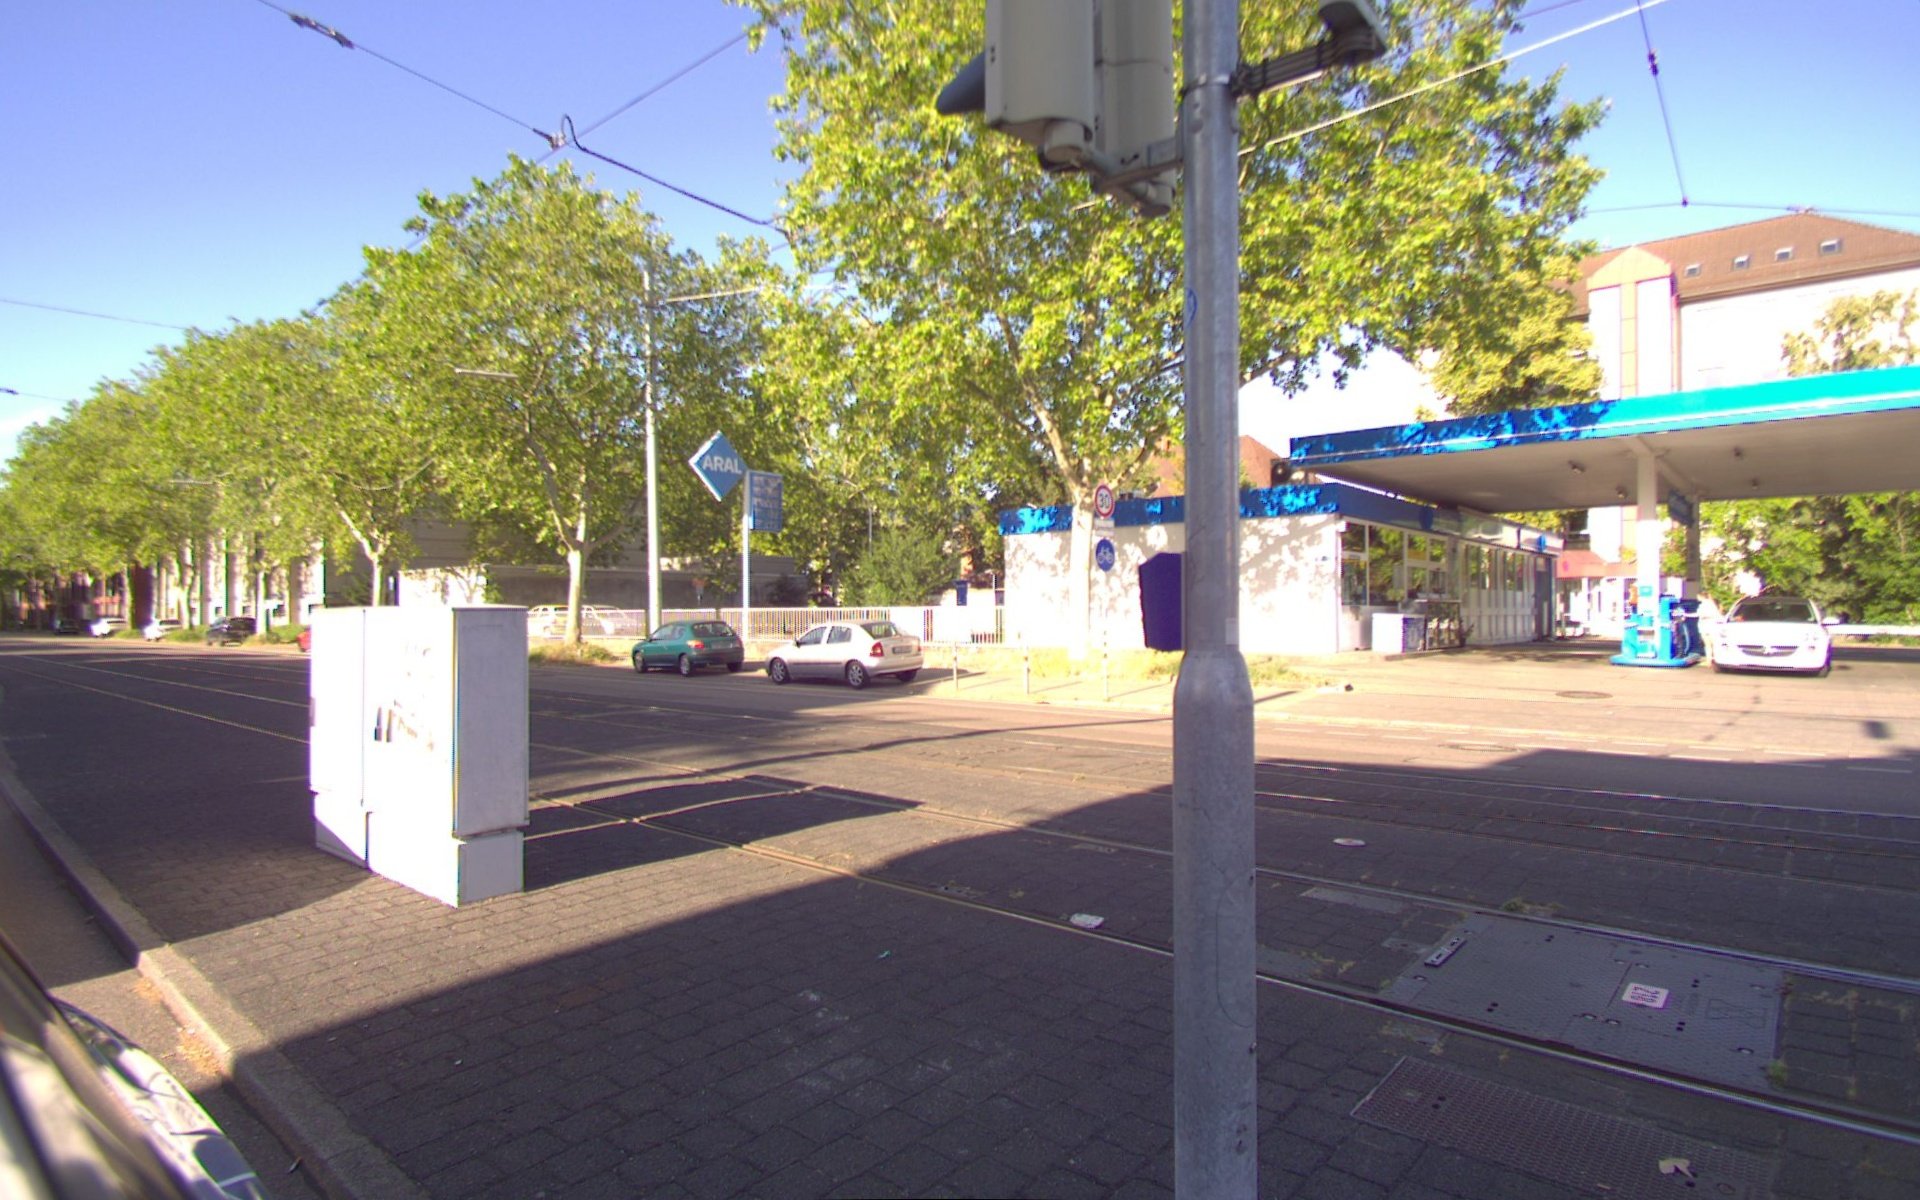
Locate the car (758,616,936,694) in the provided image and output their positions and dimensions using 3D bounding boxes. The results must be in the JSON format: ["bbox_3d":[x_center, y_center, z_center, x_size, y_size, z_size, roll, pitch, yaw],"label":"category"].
[{"bbox_3d":[-2.578,1.166,22.607,3.857,1.497,1.823,-1,1,42],"label":"car"}]

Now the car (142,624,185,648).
[{"bbox_3d":[-53.639,2.390,68.137,3.858,1.495,1.735,-1,0,43],"label":"car"}]

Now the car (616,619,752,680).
[{"bbox_3d":[-7.438,1.272,27.088,3.858,1.408,1.722,-1,1,43],"label":"car"}]

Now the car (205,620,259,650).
[{"bbox_3d":[-40.677,1.949,56.500,3.858,1.557,1.735,-1,0,43],"label":"car"}]

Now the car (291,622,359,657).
[{"bbox_3d":[-28.915,1.769,46.059,3.858,1.440,1.695,-1,0,43],"label":"car"}]

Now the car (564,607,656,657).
[{"bbox_3d":[-15.148,1.360,43.702,3.996,2.029,1.974,-1,-1,39],"label":"car"}]

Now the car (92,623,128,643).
[{"bbox_3d":[-66.926,2.569,79.658,3.858,1.495,1.735,-1,0,43],"label":"car"}]

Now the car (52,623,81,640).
[{"bbox_3d":[-84.871,2.999,96.134,3.858,1.495,1.735,-1,0,43],"label":"car"}]

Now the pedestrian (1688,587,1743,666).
[{"bbox_3d":[16.136,0.555,21.630,0.637,1.642,0.814,1,-2,-42],"label":"pedestrian"}]

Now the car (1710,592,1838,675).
[{"bbox_3d":[15.936,0.614,19.792,1.793,1.453,3.946,-1,-1,40],"label":"car"}]

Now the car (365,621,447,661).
[{"bbox_3d":[-21.988,1.584,40.104,3.858,1.468,1.735,-1,0,43],"label":"car"}]

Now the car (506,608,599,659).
[{"bbox_3d":[-17.047,1.390,42.275,3.996,2.029,1.974,-1,-1,39],"label":"car"}]
